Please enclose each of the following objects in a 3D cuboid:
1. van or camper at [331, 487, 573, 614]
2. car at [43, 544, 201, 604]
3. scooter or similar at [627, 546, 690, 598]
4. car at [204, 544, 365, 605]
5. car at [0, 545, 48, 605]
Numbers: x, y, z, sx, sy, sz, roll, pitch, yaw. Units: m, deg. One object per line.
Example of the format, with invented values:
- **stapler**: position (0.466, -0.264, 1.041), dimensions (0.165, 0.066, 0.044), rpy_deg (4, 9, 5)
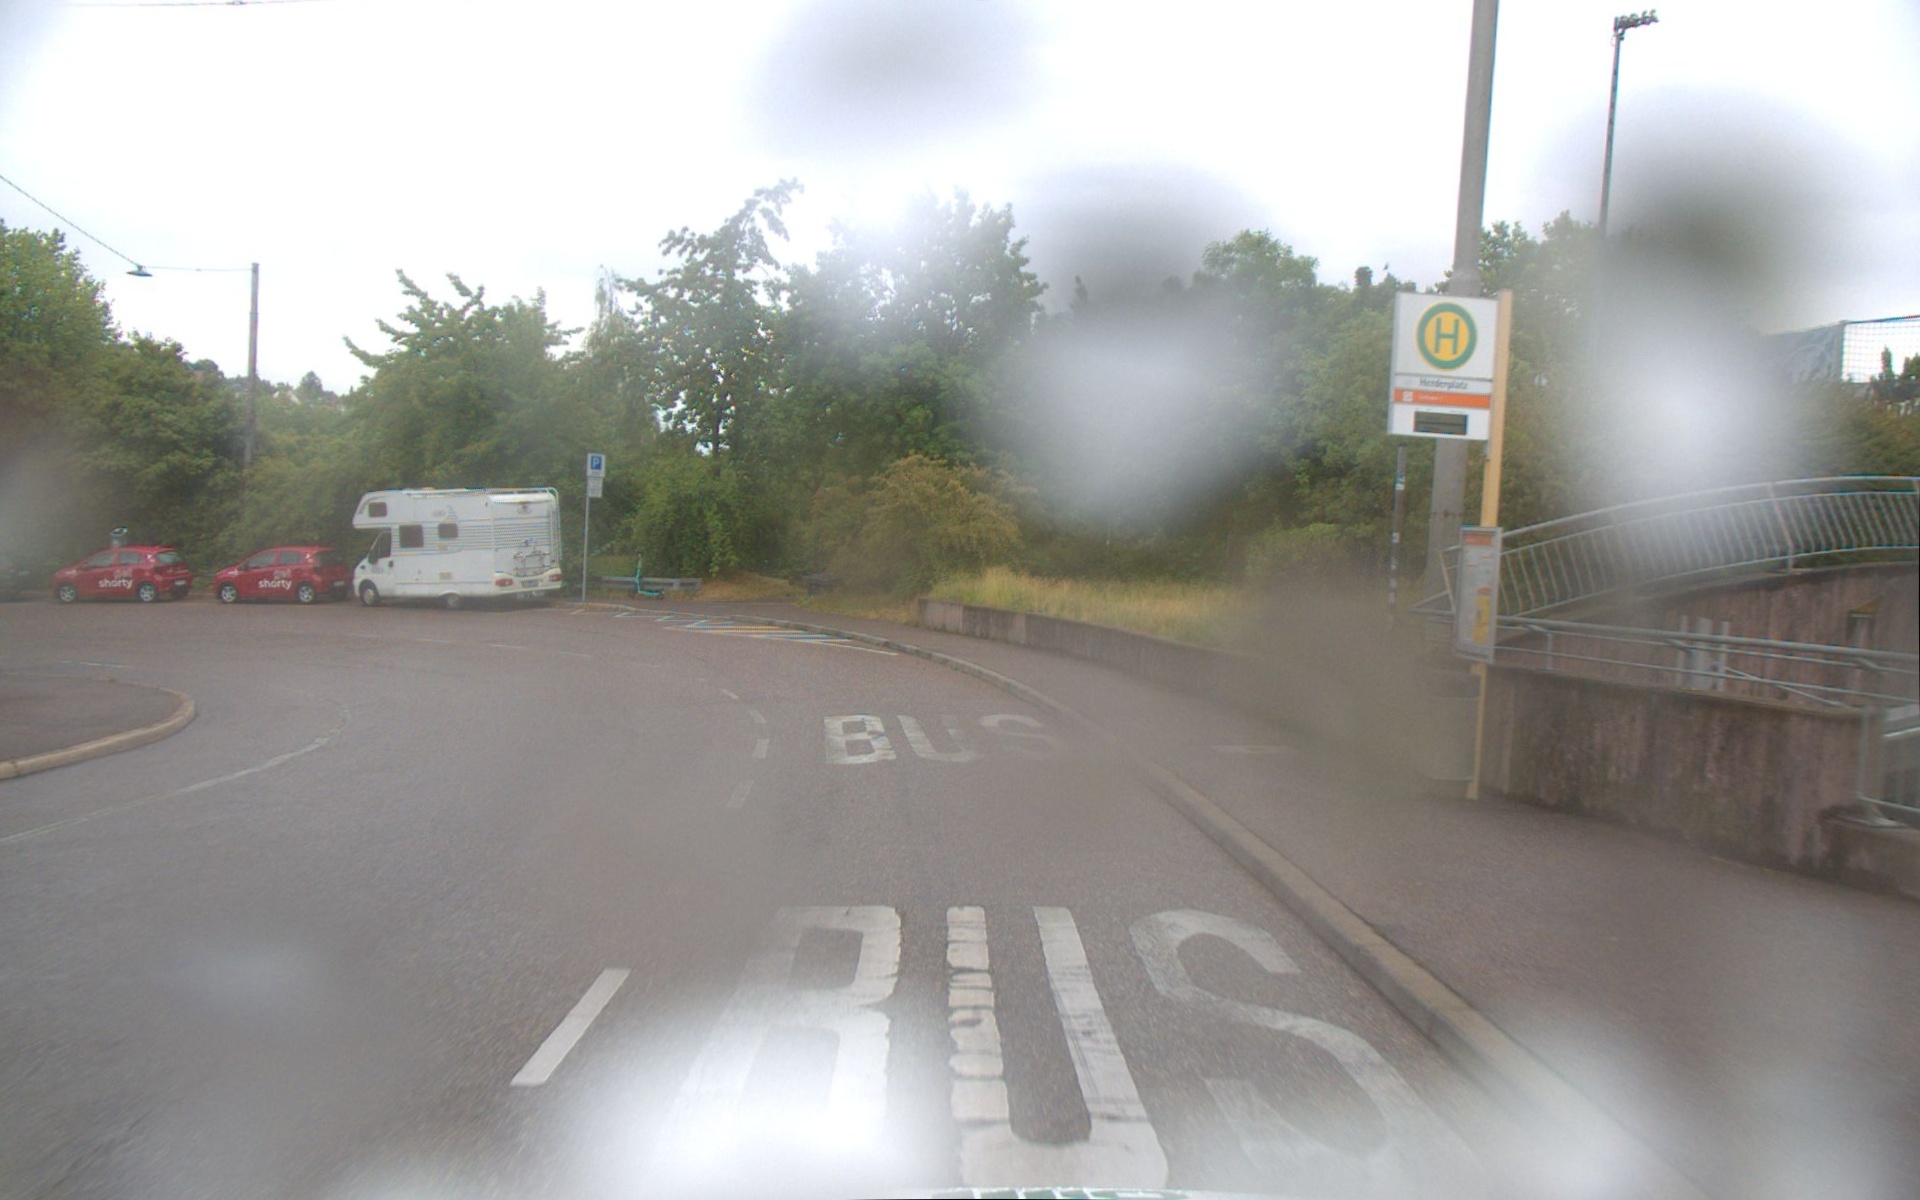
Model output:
- **van or camper**: position (-13.239, -1.362, 43.022), dimensions (6.146, 2.993, 2.394), rpy_deg (2, 7, 31)
- **car**: position (-23.433, -0.729, 46.325), dimensions (3.586, 1.538, 1.566), rpy_deg (0, 6, 6)
- **scooter or similar**: position (-7.782, -0.723, 42.670), dimensions (1.673, 1.304, 0.451), rpy_deg (1, 3, 32)
- **car**: position (-18.498, -0.696, 45.352), dimensions (3.713, 1.485, 1.649), rpy_deg (0, 6, 11)
- **car**: position (-28.585, -0.701, 46.855), dimensions (4.484, 1.538, 1.726), rpy_deg (-1, 6, 2)
